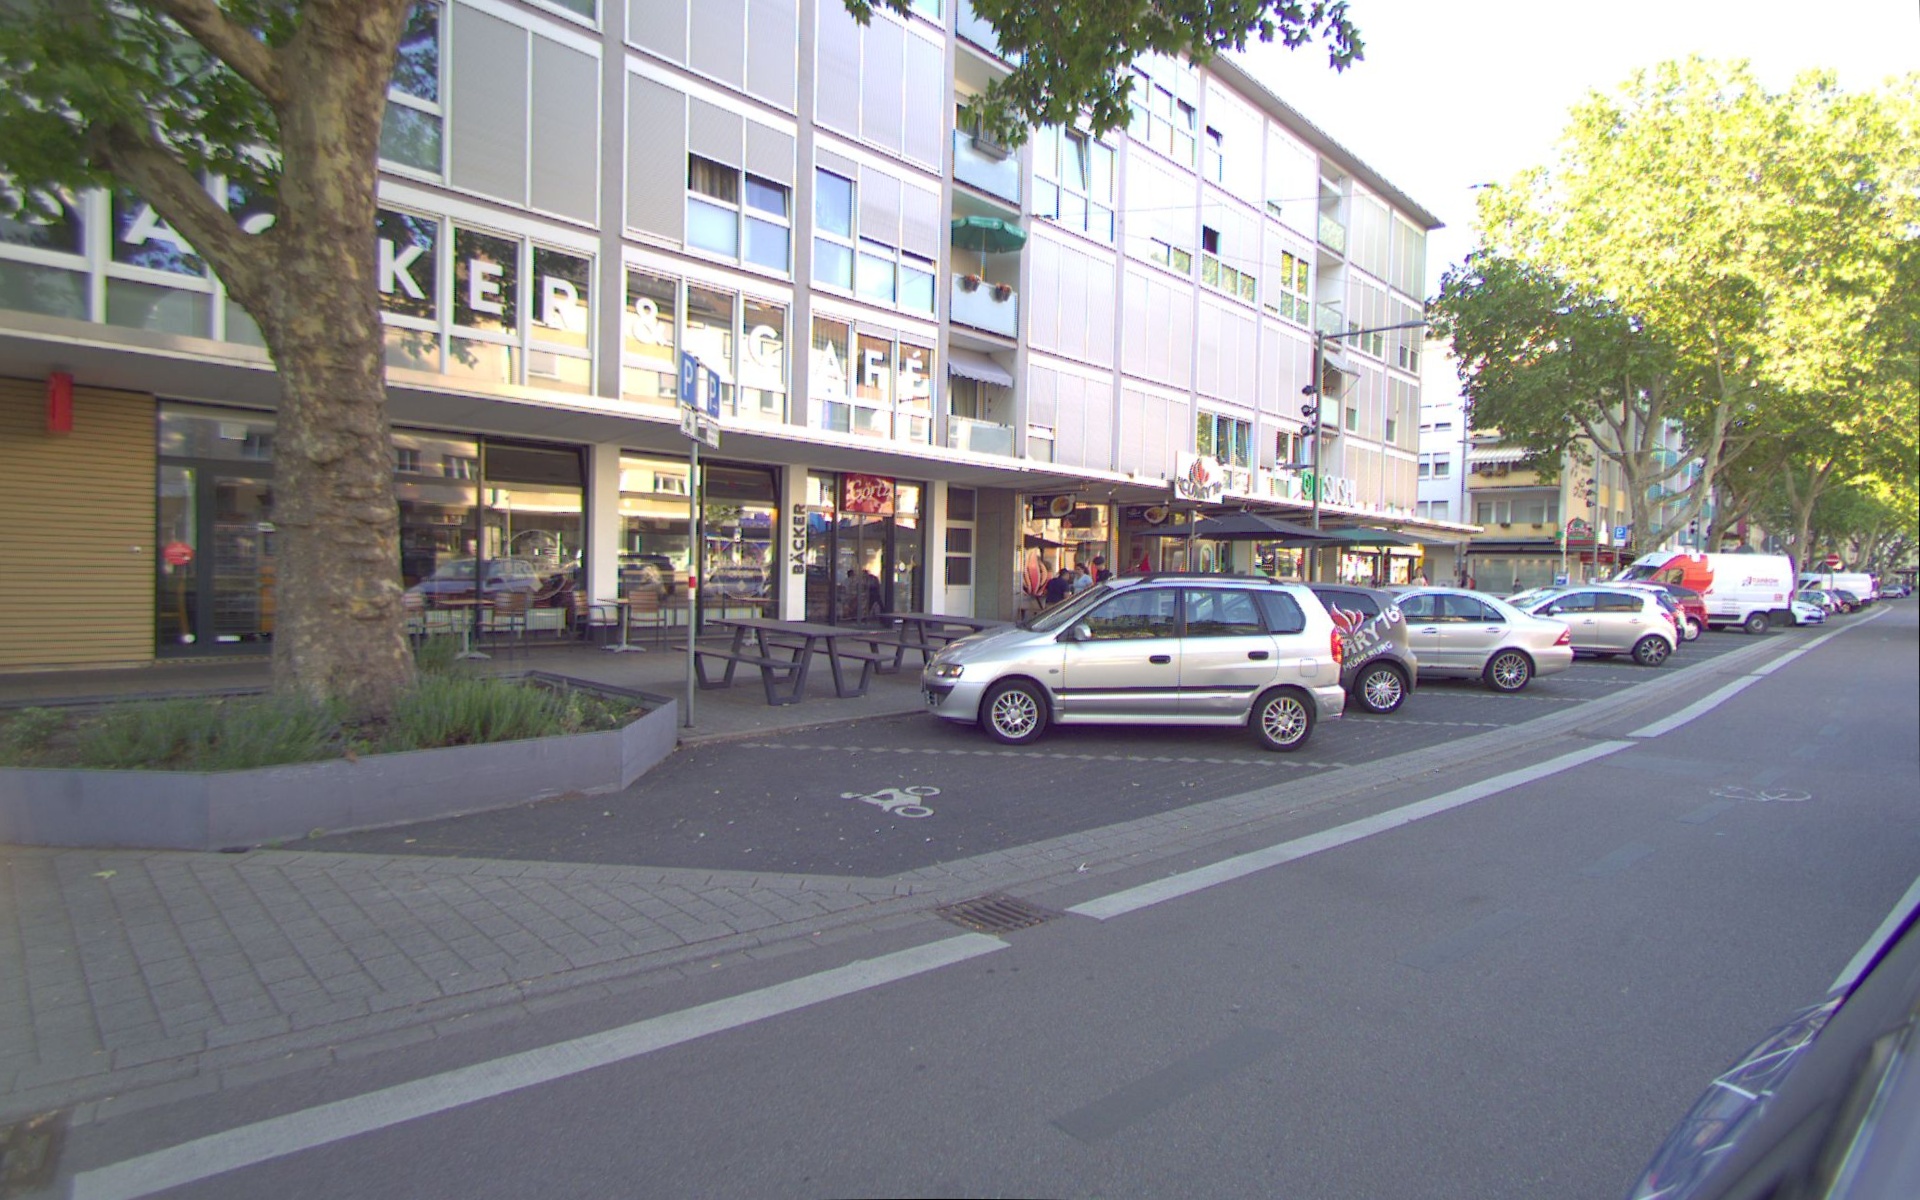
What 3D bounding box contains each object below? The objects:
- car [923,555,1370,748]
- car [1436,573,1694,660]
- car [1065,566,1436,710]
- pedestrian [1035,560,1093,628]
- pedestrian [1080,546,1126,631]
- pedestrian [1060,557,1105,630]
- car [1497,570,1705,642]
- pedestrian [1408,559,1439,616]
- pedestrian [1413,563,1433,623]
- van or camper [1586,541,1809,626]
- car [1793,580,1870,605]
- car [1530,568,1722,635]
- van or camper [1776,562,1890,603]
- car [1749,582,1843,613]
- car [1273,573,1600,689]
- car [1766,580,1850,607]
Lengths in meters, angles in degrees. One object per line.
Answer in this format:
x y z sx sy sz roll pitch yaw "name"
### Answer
1.638 0.432 9.895 3.921 1.626 1.811 1 2 -3 "car"
11.745 0.286 19.871 3.929 1.453 1.659 2 3 5 "car"
3.393 0.408 12.352 3.921 1.525 1.811 1 2 -3 "car"
2.201 -0.135 21.436 0.945 1.379 0.750 0 2 -41 "pedestrian"
2.815 -0.232 19.960 0.537 1.610 0.676 5 4 44 "pedestrian"
2.479 -0.147 20.424 0.537 1.417 0.676 5 4 44 "pedestrian"
15.751 0.110 25.029 3.929 1.541 1.659 2 3 5 "car"
13.509 -0.365 29.514 0.537 1.610 0.676 5 4 44 "pedestrian"
15.879 -0.239 34.719 0.547 2.039 0.571 0 0 31 "pedestrian"
23.326 -0.545 32.204 5.366 2.499 1.998 1 2 5 "van or camper"
53.825 -0.474 62.548 3.271 1.363 1.530 2 3 5 "car"
17.896 0.015 27.353 3.929 1.582 1.659 2 3 5 "car"
56.119 -1.124 65.158 5.363 2.499 1.999 1 2 3 "van or camper"
41.875 -0.149 50.750 3.271 1.363 1.530 2 3 5 "car"
6.825 0.404 14.821 3.926 1.453 1.660 2 3 2 "car"
48.451 -0.400 57.865 3.271 1.363 1.530 2 3 5 "car"
